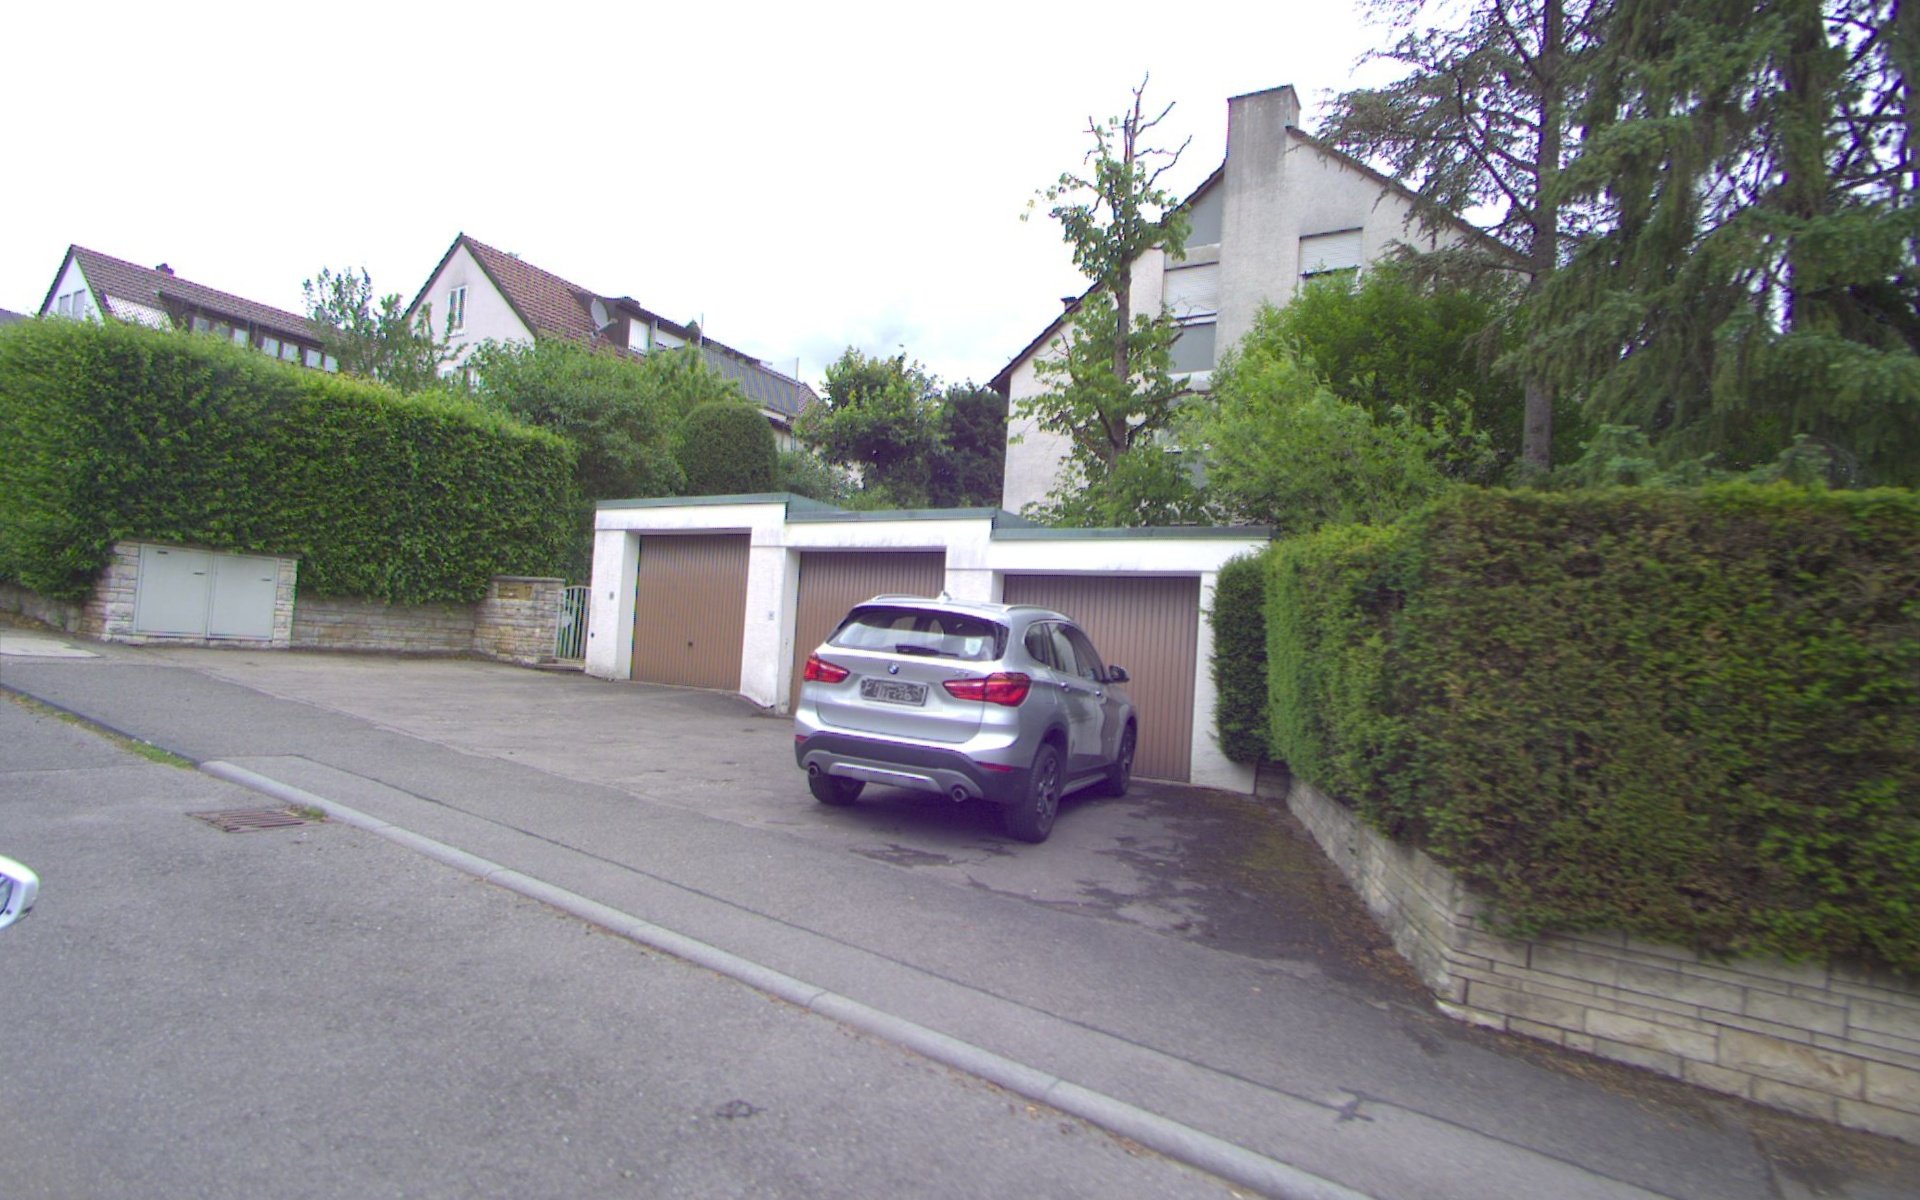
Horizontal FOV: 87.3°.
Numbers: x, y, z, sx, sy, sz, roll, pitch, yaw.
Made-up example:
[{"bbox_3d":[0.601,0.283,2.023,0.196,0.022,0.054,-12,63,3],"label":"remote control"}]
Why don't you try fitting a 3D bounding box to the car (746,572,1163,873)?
[{"bbox_3d":[0.284,0.858,8.324,1.847,1.618,4.221,7,-1,22],"label":"car"}]
